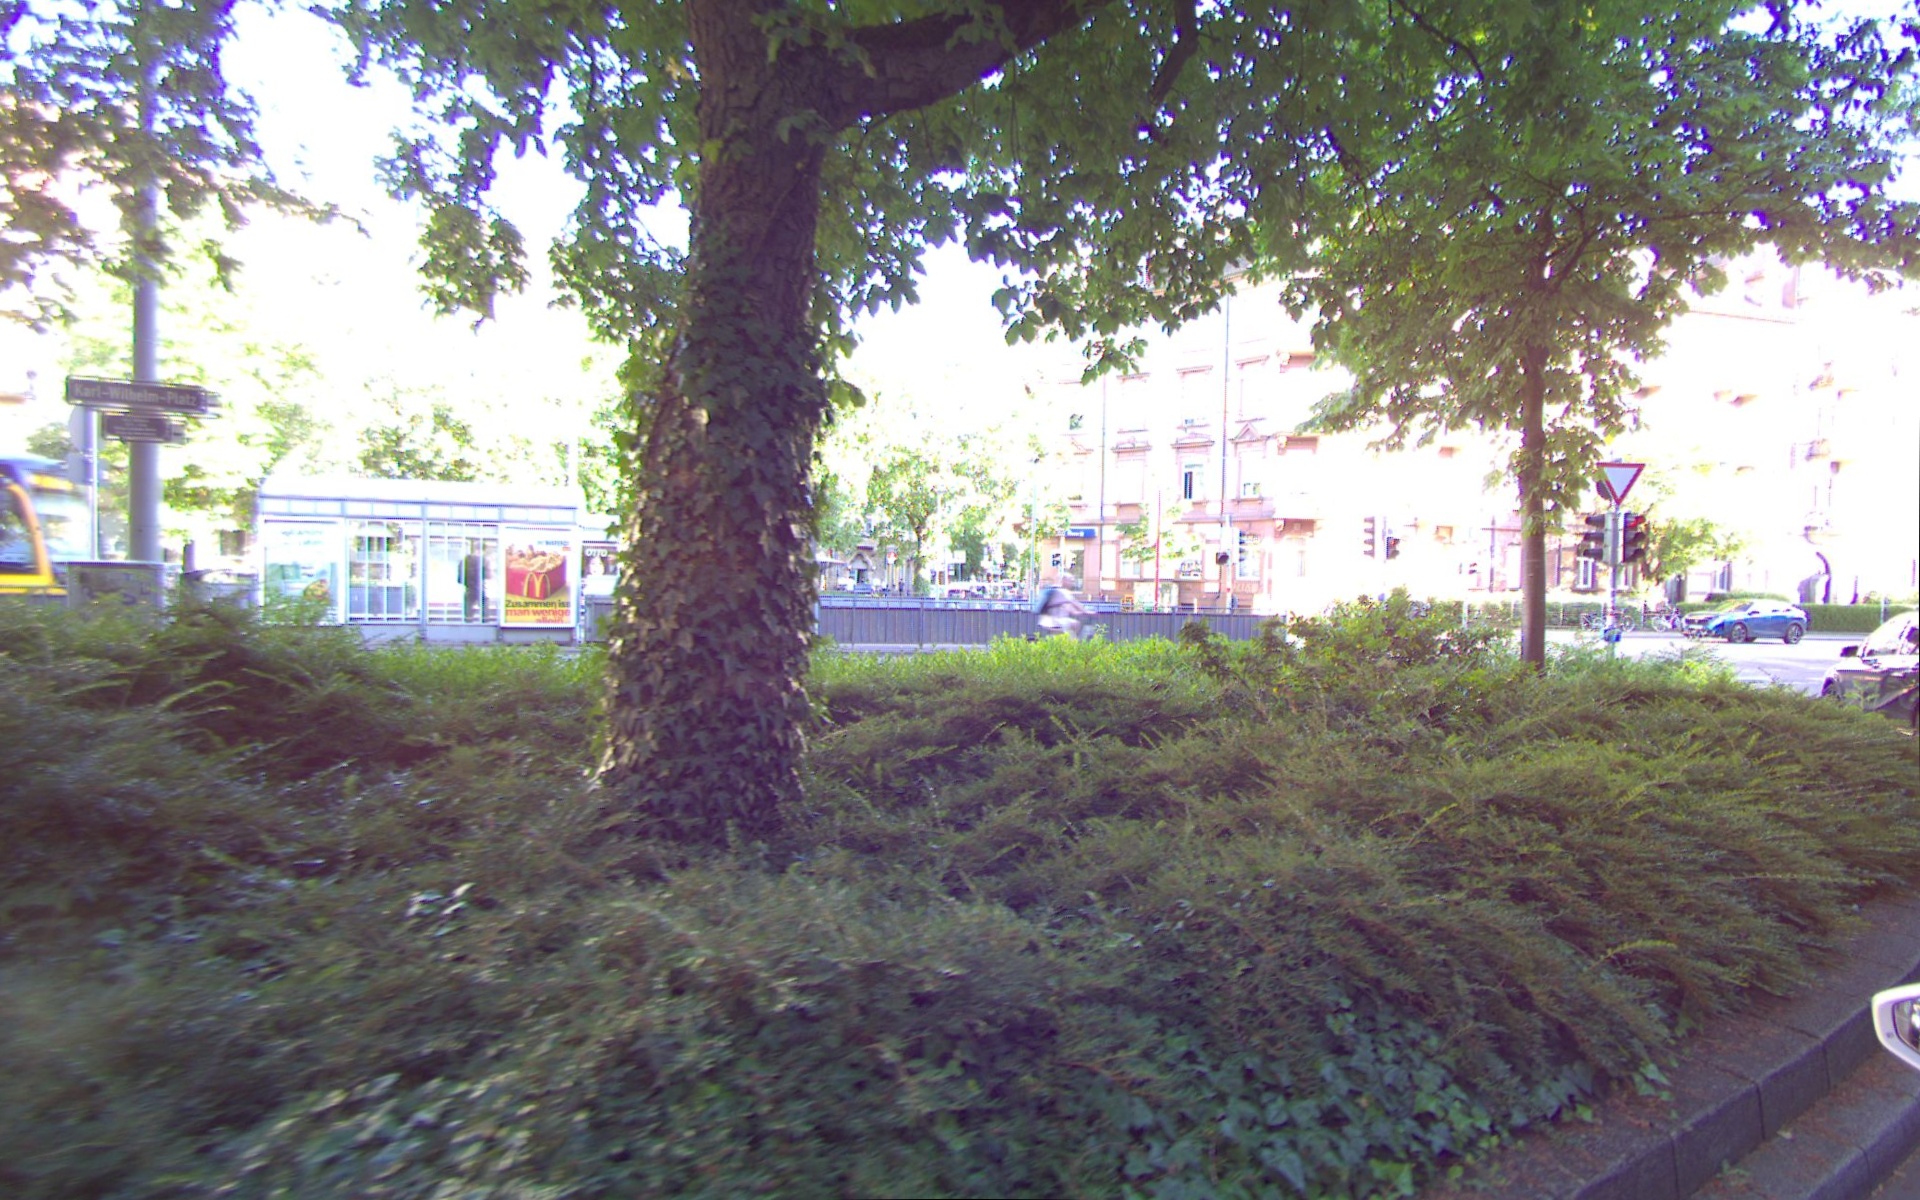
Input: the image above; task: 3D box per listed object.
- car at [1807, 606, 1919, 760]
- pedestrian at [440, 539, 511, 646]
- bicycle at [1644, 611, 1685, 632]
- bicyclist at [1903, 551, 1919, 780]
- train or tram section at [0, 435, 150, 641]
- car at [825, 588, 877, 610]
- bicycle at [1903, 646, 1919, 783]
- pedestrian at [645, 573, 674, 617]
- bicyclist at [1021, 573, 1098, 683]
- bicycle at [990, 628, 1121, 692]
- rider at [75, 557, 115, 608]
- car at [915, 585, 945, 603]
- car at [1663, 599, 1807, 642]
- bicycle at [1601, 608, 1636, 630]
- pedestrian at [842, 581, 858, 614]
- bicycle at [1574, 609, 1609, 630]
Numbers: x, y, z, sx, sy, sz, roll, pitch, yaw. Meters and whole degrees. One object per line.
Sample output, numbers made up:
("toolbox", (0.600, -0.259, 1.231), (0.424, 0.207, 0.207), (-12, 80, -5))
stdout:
("car", (11.115, 0.851, 11.026), (1.784, 1.564, 3.955), (0, -1, 25))
("pedestrian", (-9.011, -0.144, 18.713), (1.003, 1.923, 0.909), (1, 1, -14))
("bicycle", (30.936, 0.924, 44.131), (1.418, 0.873, 0.450), (1, 1, 3))
("bicyclist", (8.374, 0.557, 8.088), (0.838, 1.924, 1.137), (1, 1, 29))
("train or tram section", (-19.735, -1.184, 18.941), (6.240, 3.690, 2.913), (1, 1, -14))
("car", (-8.549, -0.103, 78.961), (3.923, 1.629, 1.765), (1, 1, -4))
("bicycle", (8.401, 1.020, 8.180), (0.589, 1.177, 2.037), (2, 1, 31))
("pedestrian", (-11.136, -0.200, 37.284), (0.796, 1.564, 0.820), (3, 1, -4))
("bicyclist", (1.601, 0.440, 16.275), (1.030, 1.739, 0.694), (1, 1, -15))
("bicycle", (1.534, 0.959, 16.238), (1.949, 0.971, 0.768), (1, 1, -16))
("rider", (-29.883, -0.606, 34.711), (0.805, 1.704, 0.670), (4, 1, 18))
("car", (-2.803, -0.554, 94.909), (1.730, 1.629, 4.002), (2, 1, 14))
("car", (29.495, 0.771, 38.285), (4.298, 1.516, 1.995), (1, 1, -12))
("bicycle", (28.580, 0.825, 43.609), (1.199, 0.873, 0.450), (1, 1, 3))
("pedestrian", (-6.851, -0.155, 62.390), (0.789, 2.041, 0.569), (0, 1, -30))
("bicycle", (27.396, 0.830, 43.587), (1.199, 0.873, 0.450), (1, 1, 3))
